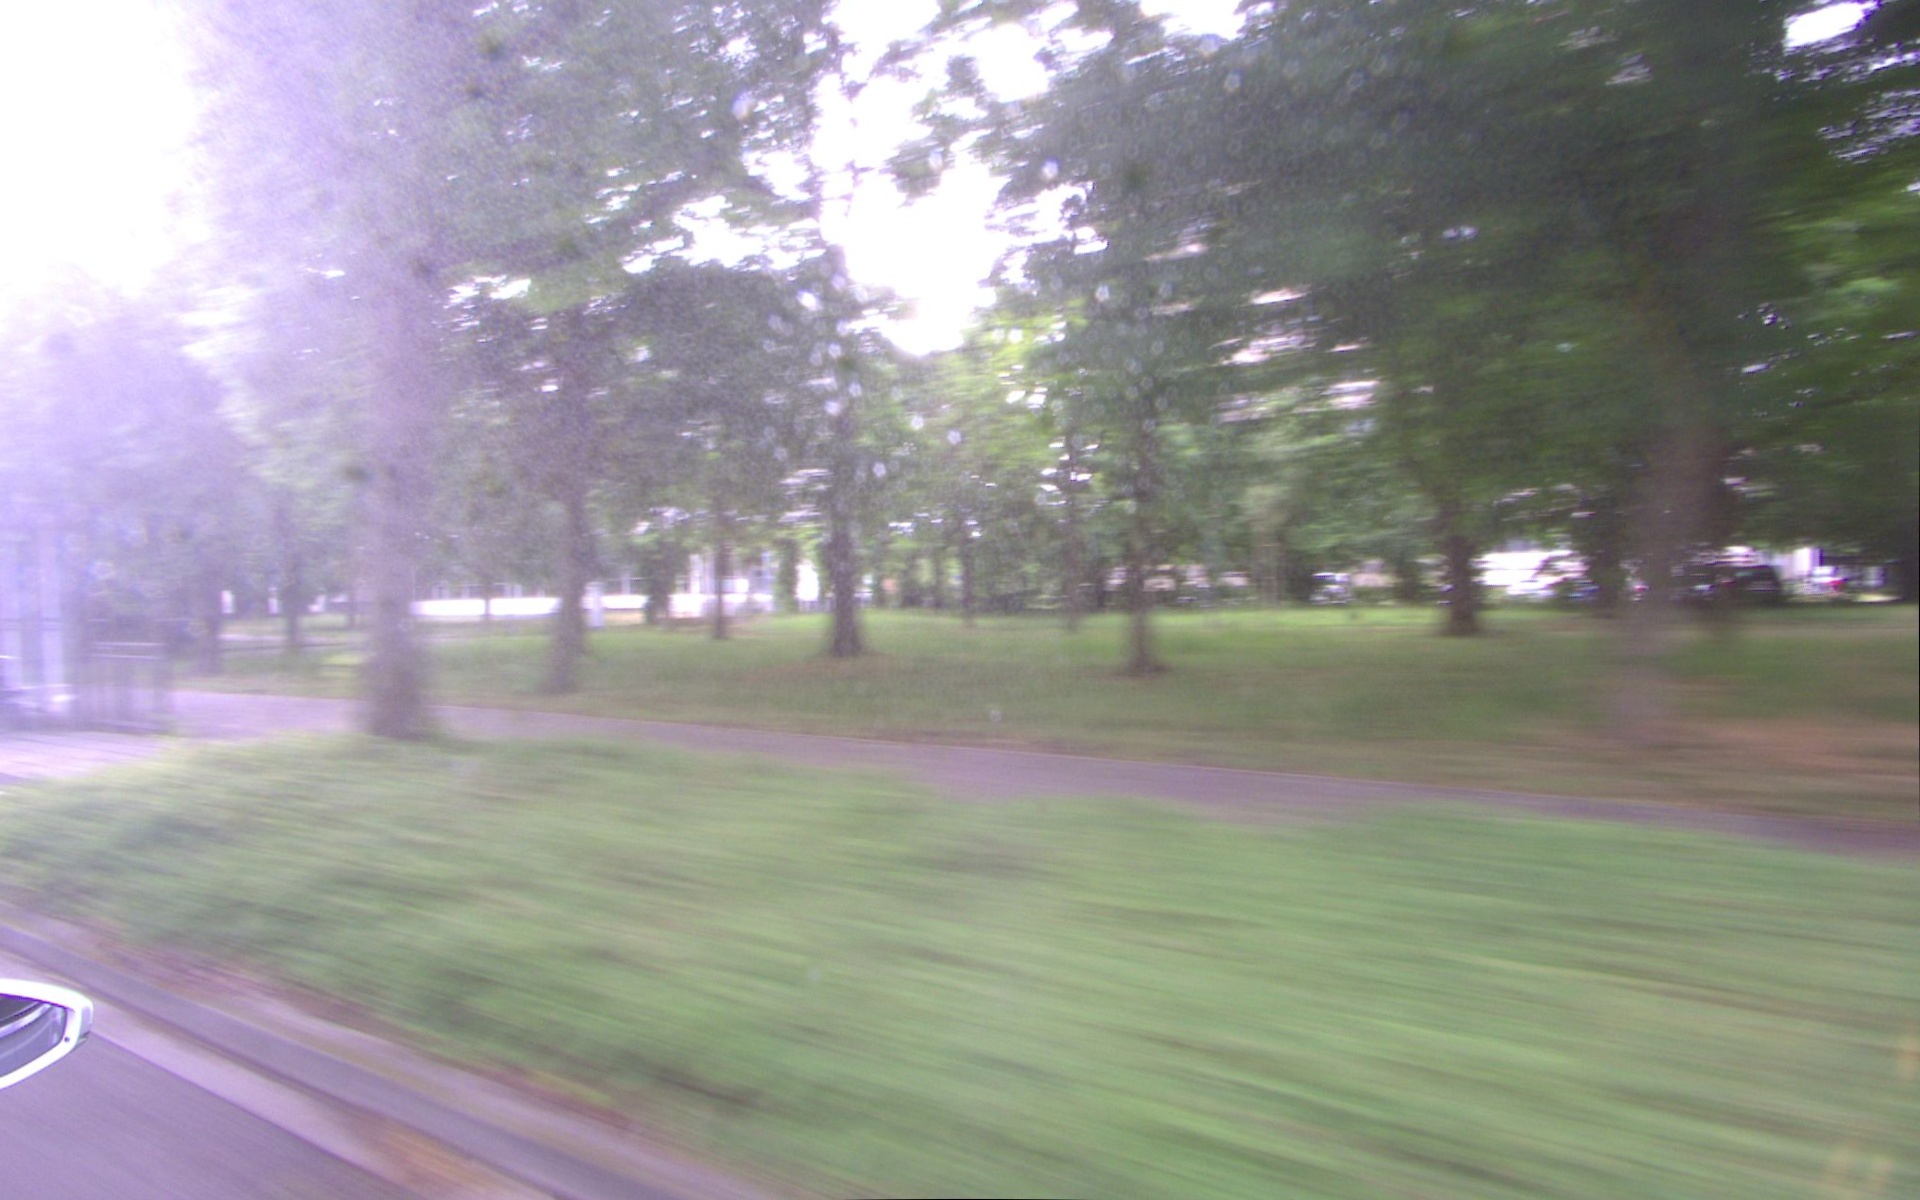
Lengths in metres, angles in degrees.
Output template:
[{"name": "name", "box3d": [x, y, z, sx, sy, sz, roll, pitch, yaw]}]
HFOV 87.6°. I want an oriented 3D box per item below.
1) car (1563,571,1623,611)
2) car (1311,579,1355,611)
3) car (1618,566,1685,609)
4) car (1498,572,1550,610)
[{"name": "car", "box3d": [30.527, -0.394, 48.427, 1.968, 1.817, 3.987, 0, -1, 25]}, {"name": "car", "box3d": [20.335, -0.257, 54.543, 1.893, 1.639, 3.986, -1, 0, 25]}, {"name": "car", "box3d": [32.637, -0.562, 47.340, 1.968, 1.906, 3.987, 0, -1, 25]}, {"name": "car", "box3d": [27.749, -0.393, 49.387, 1.968, 1.750, 3.987, 0, -1, 25]}]
